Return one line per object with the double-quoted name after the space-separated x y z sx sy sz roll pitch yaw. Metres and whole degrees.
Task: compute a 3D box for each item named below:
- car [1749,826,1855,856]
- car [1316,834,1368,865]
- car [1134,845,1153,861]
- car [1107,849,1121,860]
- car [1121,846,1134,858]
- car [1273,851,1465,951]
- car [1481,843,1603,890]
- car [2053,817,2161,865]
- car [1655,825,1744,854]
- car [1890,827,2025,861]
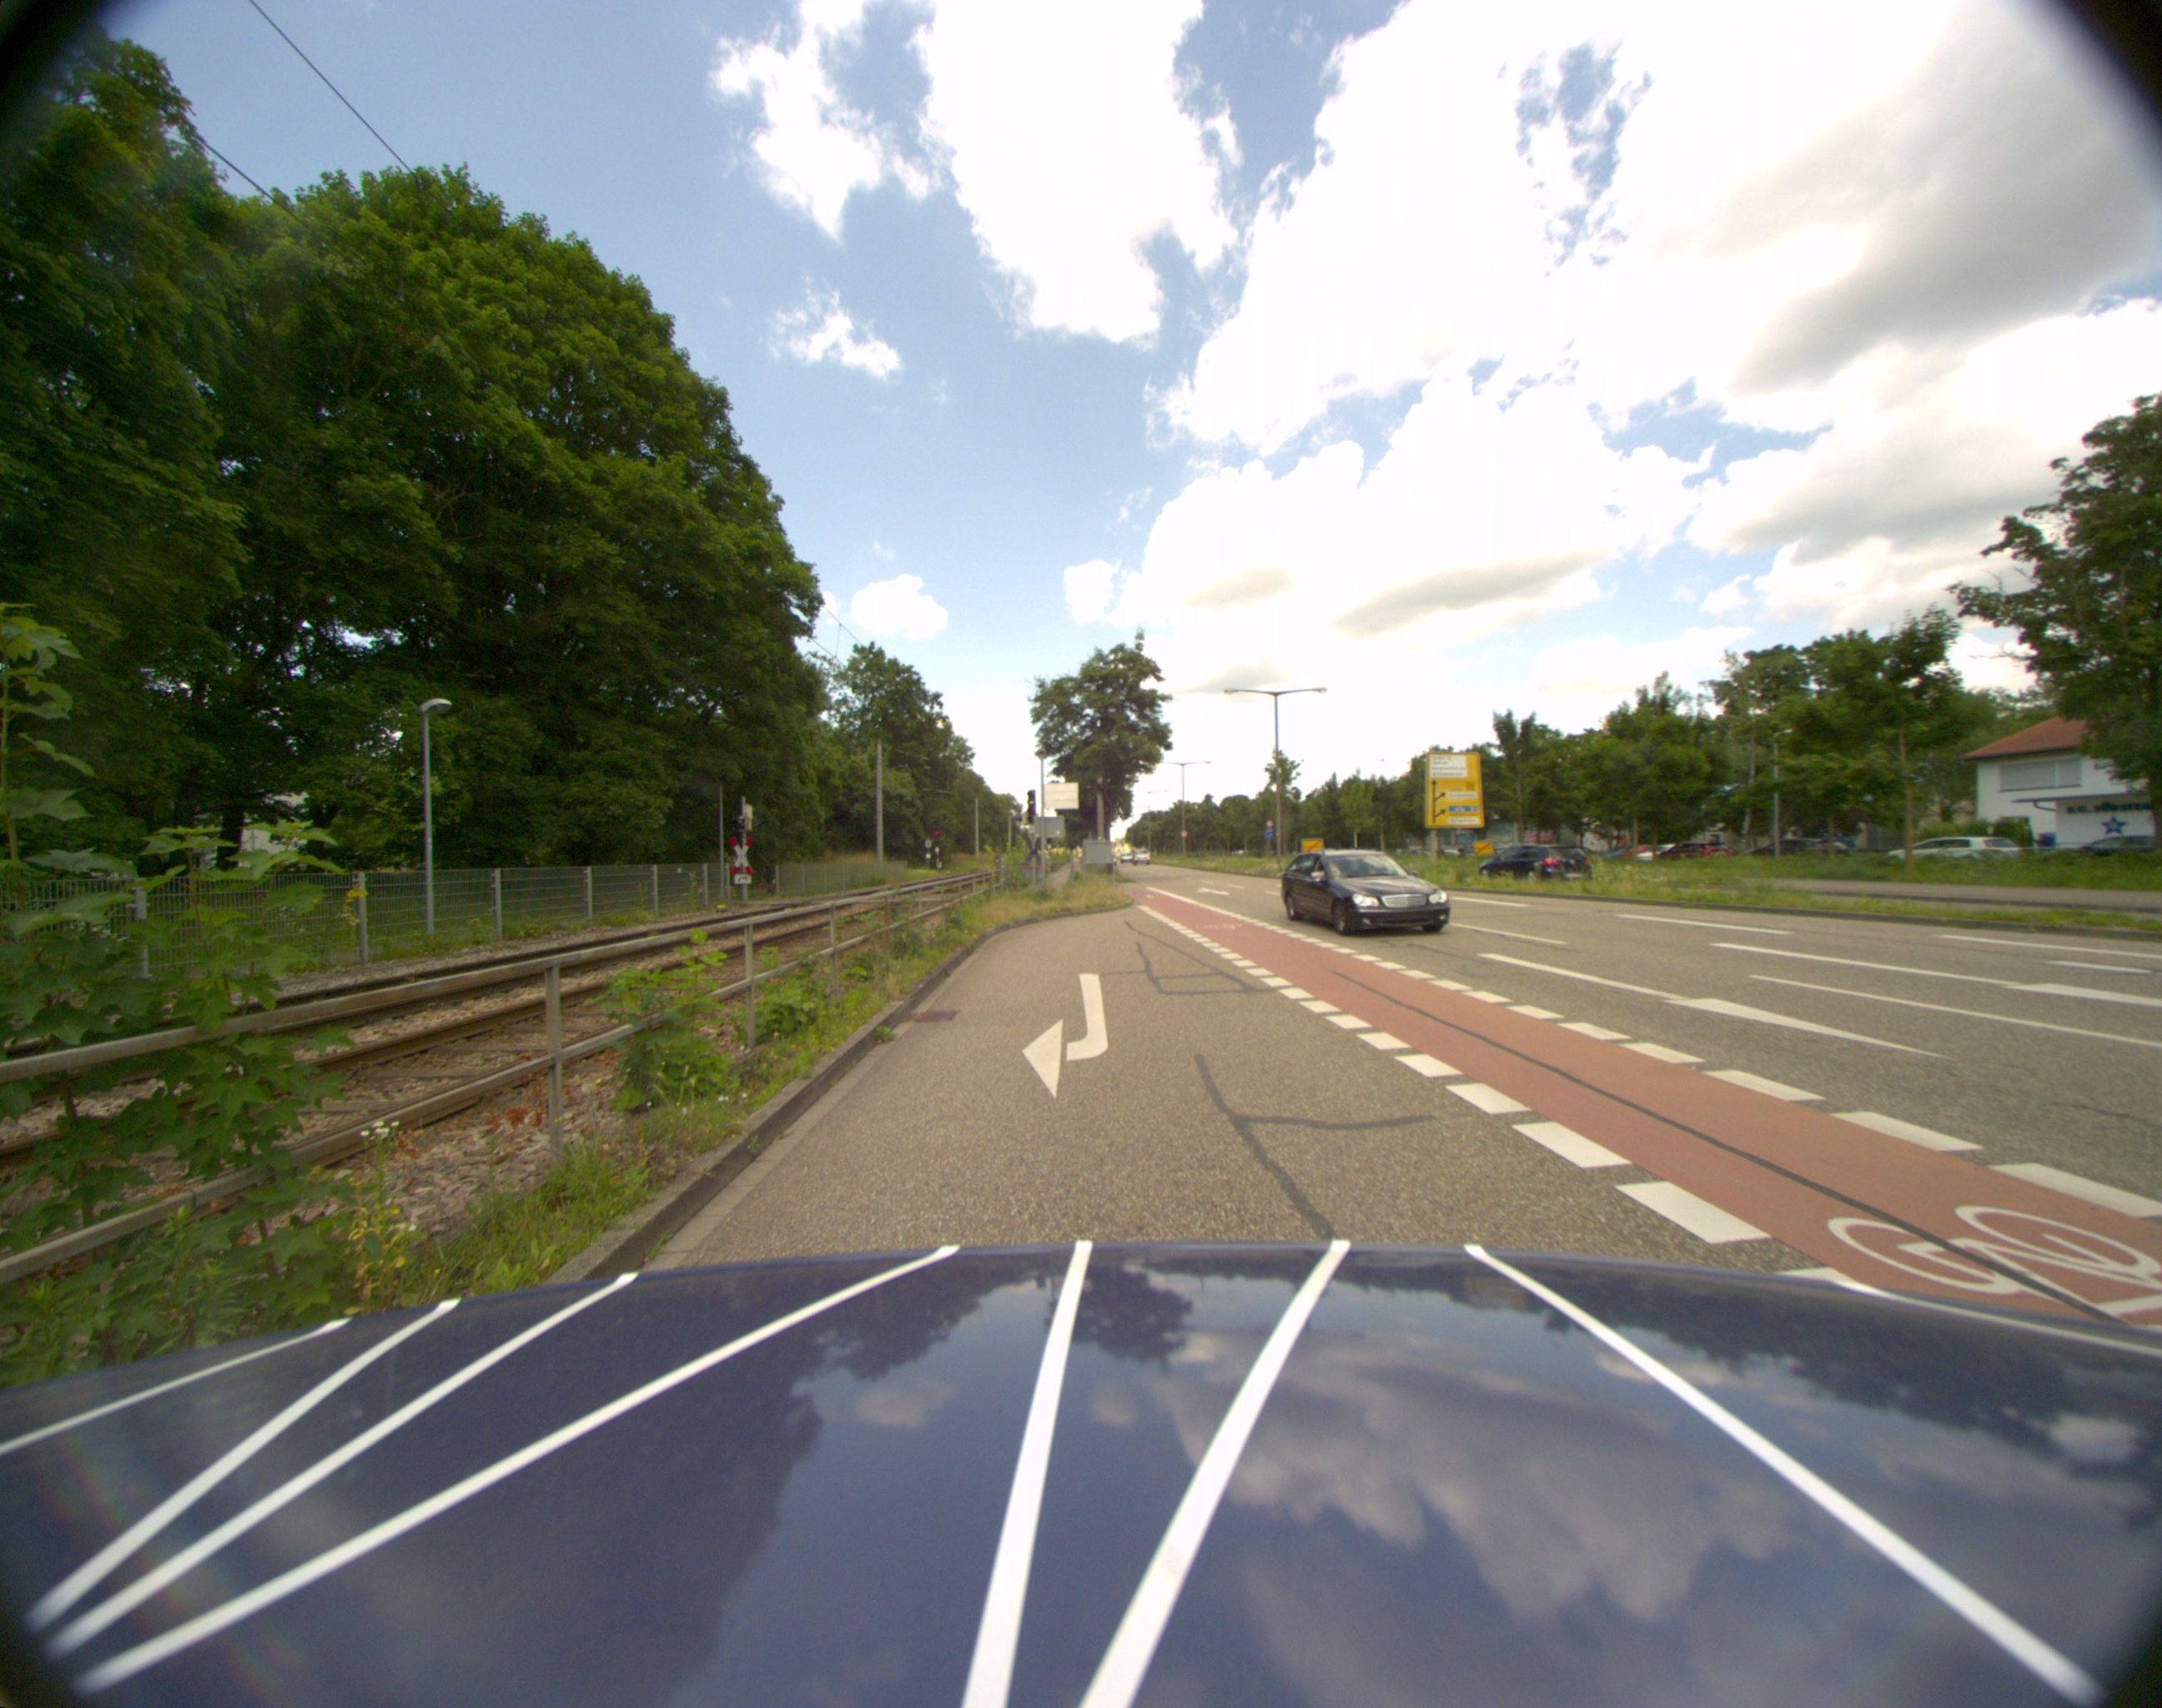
36.150 -0.619 38.239 1.729 1.403 3.866 -1 0 1 "car"
17.377 -0.291 50.754 1.999 2.002 3.999 -1 0 -2 "car"
7.686 -0.189 94.201 1.818 1.907 5.231 -1 1 -2 "car"
4.337 0.068 100.582 1.604 1.455 3.702 0 0 -1 "car"
7.245 -0.284 117.869 1.747 1.775 4.156 -2 1 1 "car"
5.055 0.717 14.057 1.759 1.457 4.432 -2 1 -1 "car"
15.161 0.370 25.226 1.686 1.437 3.692 -1 0 -3 "car"
36.507 -0.445 25.835 1.762 1.578 4.023 -1 0 1 "car"
36.174 -0.841 44.608 1.998 1.578 4.023 -1 0 1 "car"
36.244 -0.410 31.540 1.625 1.324 3.476 -1 0 1 "car"
